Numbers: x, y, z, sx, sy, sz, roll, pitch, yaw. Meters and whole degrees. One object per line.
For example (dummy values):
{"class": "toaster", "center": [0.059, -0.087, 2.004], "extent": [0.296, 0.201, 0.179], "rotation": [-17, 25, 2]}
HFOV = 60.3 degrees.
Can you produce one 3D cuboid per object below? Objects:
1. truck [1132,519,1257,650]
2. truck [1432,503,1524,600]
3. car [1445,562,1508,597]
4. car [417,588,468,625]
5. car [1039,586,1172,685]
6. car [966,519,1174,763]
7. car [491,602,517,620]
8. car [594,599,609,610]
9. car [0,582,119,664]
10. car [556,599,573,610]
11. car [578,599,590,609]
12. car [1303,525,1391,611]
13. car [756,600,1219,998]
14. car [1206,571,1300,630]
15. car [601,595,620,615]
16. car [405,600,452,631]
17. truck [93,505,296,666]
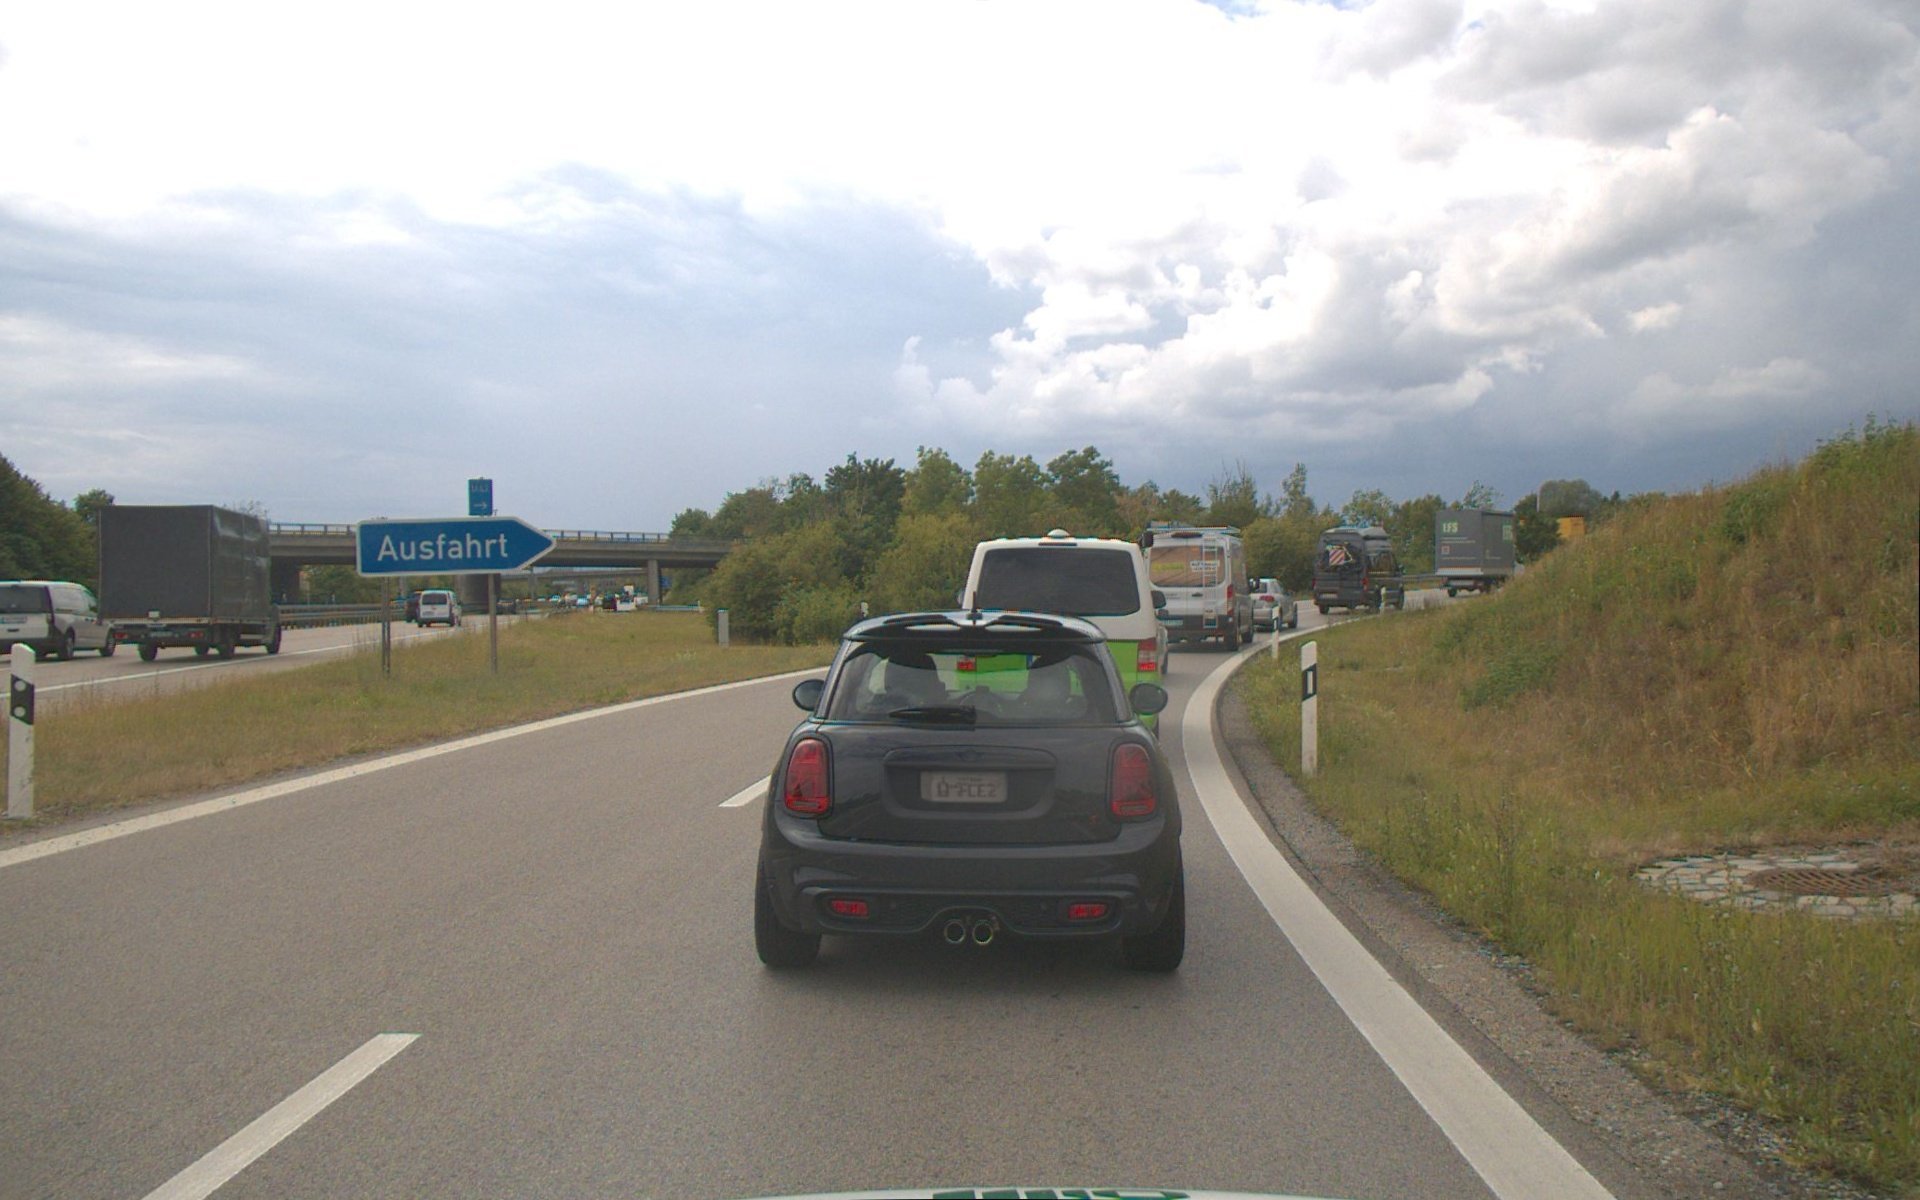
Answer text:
{"class": "truck", "center": [5.310, -0.353, 36.850], "extent": [2.132, 2.705, 5.113], "rotation": [-1, 1, 15]}
{"class": "truck", "center": [22.855, -2.044, 72.754], "extent": [2.190, 3.975, 5.995], "rotation": [0, -1, 34]}
{"class": "car", "center": [24.808, -0.962, 79.409], "extent": [1.765, 1.583, 3.946], "rotation": [-1, -1, 35]}
{"class": "car", "center": [-26.209, 0.323, 83.883], "extent": [1.842, 1.782, 4.477], "rotation": [-1, 0, -9]}
{"class": "car", "center": [2.349, 0.508, 25.869], "extent": [1.724, 1.423, 3.728], "rotation": [-1, 0, 10]}
{"class": "car", "center": [1.105, 0.332, 15.956], "extent": [1.746, 2.049, 4.003], "rotation": [0, 0, 5]}
{"class": "car", "center": [-40.042, 0.962, 145.400], "extent": [1.690, 1.449, 4.786], "rotation": [-1, 0, -10]}
{"class": "car", "center": [-49.365, 0.601, 227.795], "extent": [1.747, 1.423, 4.541], "rotation": [-1, 0, -9]}
{"class": "car", "center": [-21.856, 0.532, 39.570], "extent": [1.957, 1.842, 3.991], "rotation": [-1, 0, -10]}
{"class": "car", "center": [-52.835, 0.560, 220.931], "extent": [1.747, 1.423, 4.297], "rotation": [-1, 0, -9]}
{"class": "car", "center": [-57.521, 0.589, 252.997], "extent": [1.748, 1.423, 4.294], "rotation": [-1, 0, -11]}
{"class": "car", "center": [13.350, -1.074, 56.907], "extent": [2.064, 2.845, 3.996], "rotation": [1, 0, 26]}
{"class": "car", "center": [0.049, 0.729, 7.921], "extent": [1.692, 1.438, 3.724], "rotation": [0, 0, -2]}
{"class": "car", "center": [8.184, 0.008, 45.900], "extent": [1.828, 1.536, 4.000], "rotation": [0, 0, 21]}
{"class": "car", "center": [-37.808, 0.559, 179.148], "extent": [1.958, 2.049, 3.988], "rotation": [1, -1, -12]}
{"class": "car", "center": [-32.886, 0.917, 102.448], "extent": [1.957, 1.817, 5.399], "rotation": [-1, 0, -10]}
{"class": "truck", "center": [-18.117, -0.296, 39.697], "extent": [2.423, 3.430, 7.903], "rotation": [-1, 0, -10]}
